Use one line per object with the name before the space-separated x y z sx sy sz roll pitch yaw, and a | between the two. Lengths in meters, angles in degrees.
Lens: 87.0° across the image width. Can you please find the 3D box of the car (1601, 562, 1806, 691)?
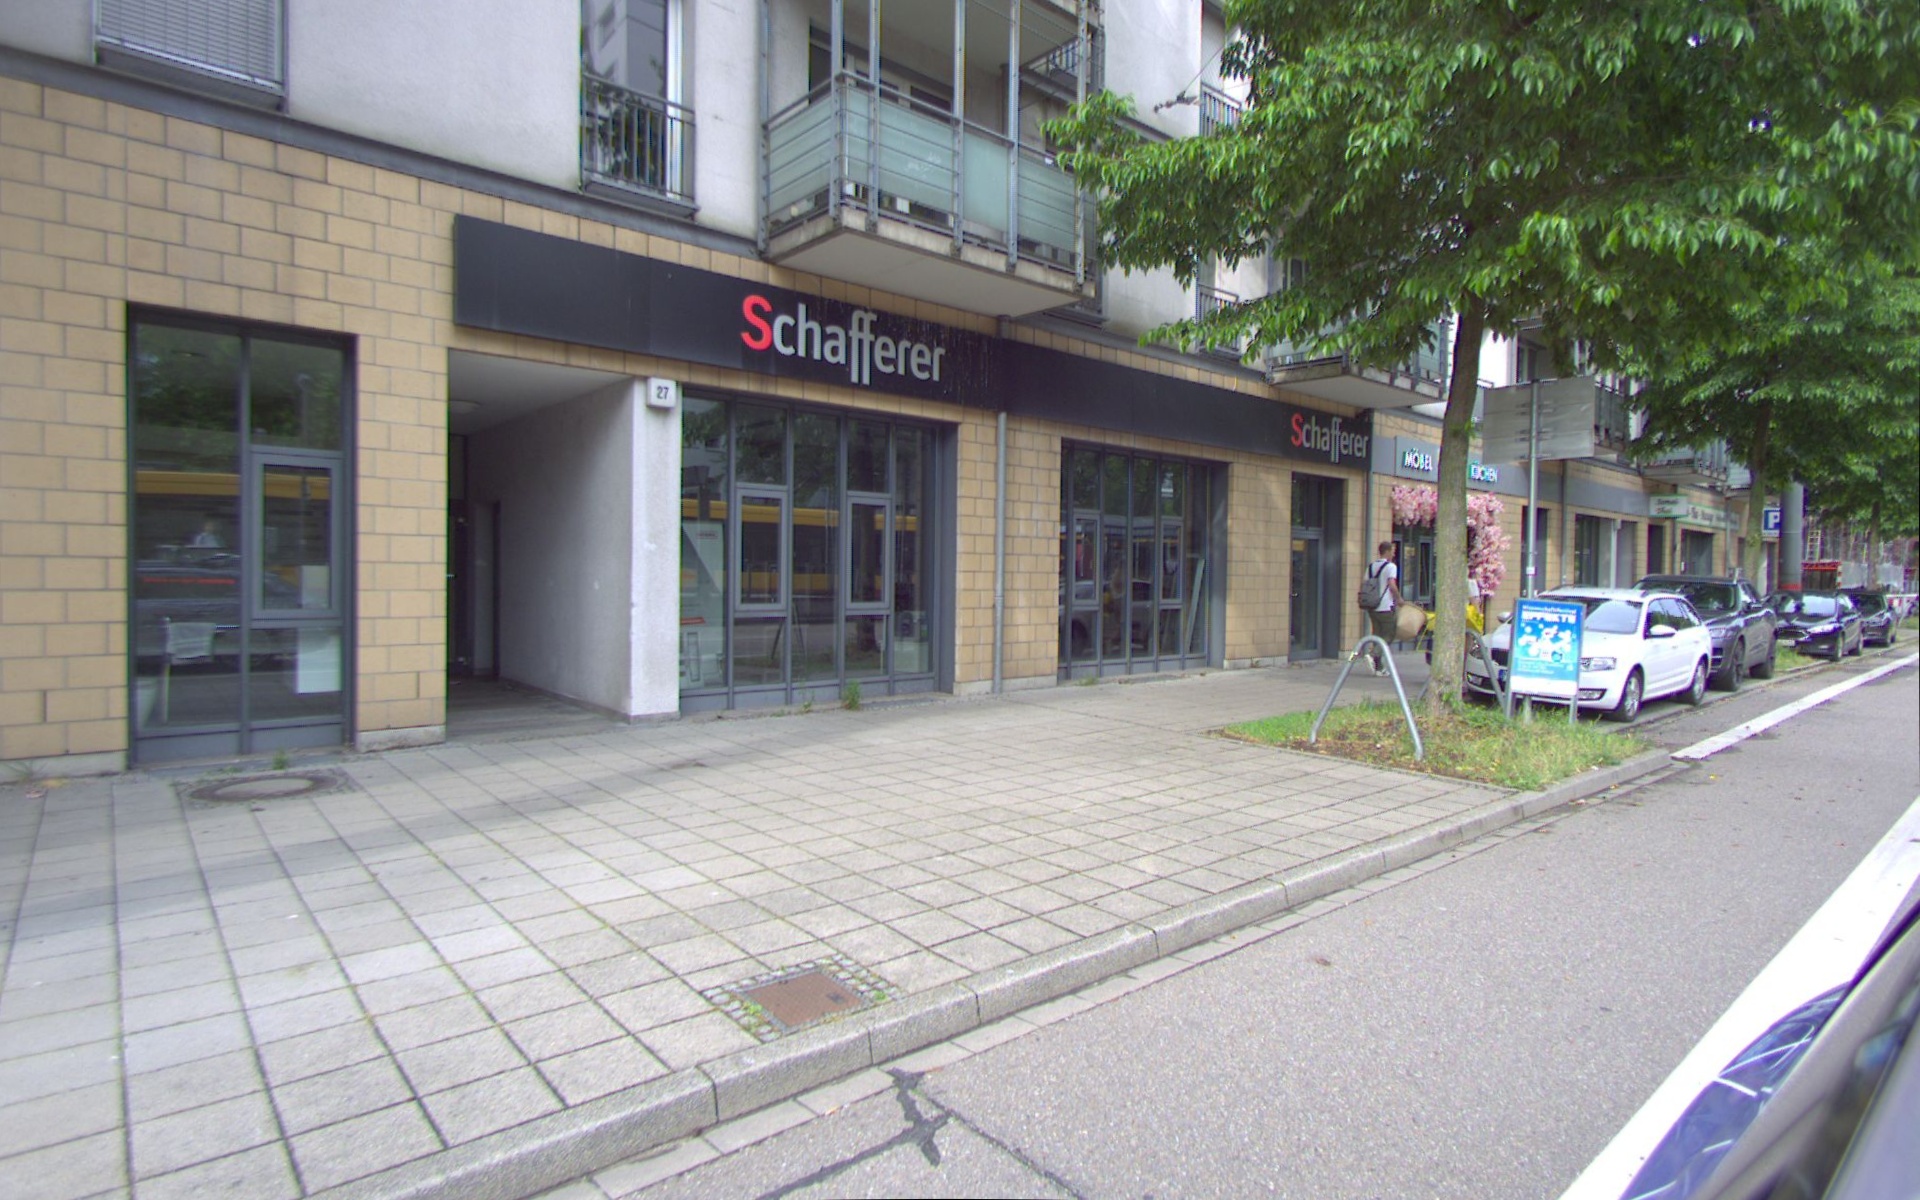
car | 12.078 0.307 16.321 4.632 1.737 1.715 -1 4 -42

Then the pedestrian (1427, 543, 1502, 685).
pedestrian | 6.710 0.168 13.469 0.724 1.828 0.617 0 2 -39

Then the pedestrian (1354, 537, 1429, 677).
pedestrian | 6.080 0.083 14.281 0.724 1.914 0.677 0 2 -39

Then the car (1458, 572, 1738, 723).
car | 8.131 0.459 12.747 4.312 1.517 1.681 -1 4 -40

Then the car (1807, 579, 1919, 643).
car | 24.355 0.223 27.236 4.315 1.472 1.800 -1 5 -43

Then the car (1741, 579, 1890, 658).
car | 18.723 0.327 22.087 4.329 1.459 1.681 -1 4 -40
